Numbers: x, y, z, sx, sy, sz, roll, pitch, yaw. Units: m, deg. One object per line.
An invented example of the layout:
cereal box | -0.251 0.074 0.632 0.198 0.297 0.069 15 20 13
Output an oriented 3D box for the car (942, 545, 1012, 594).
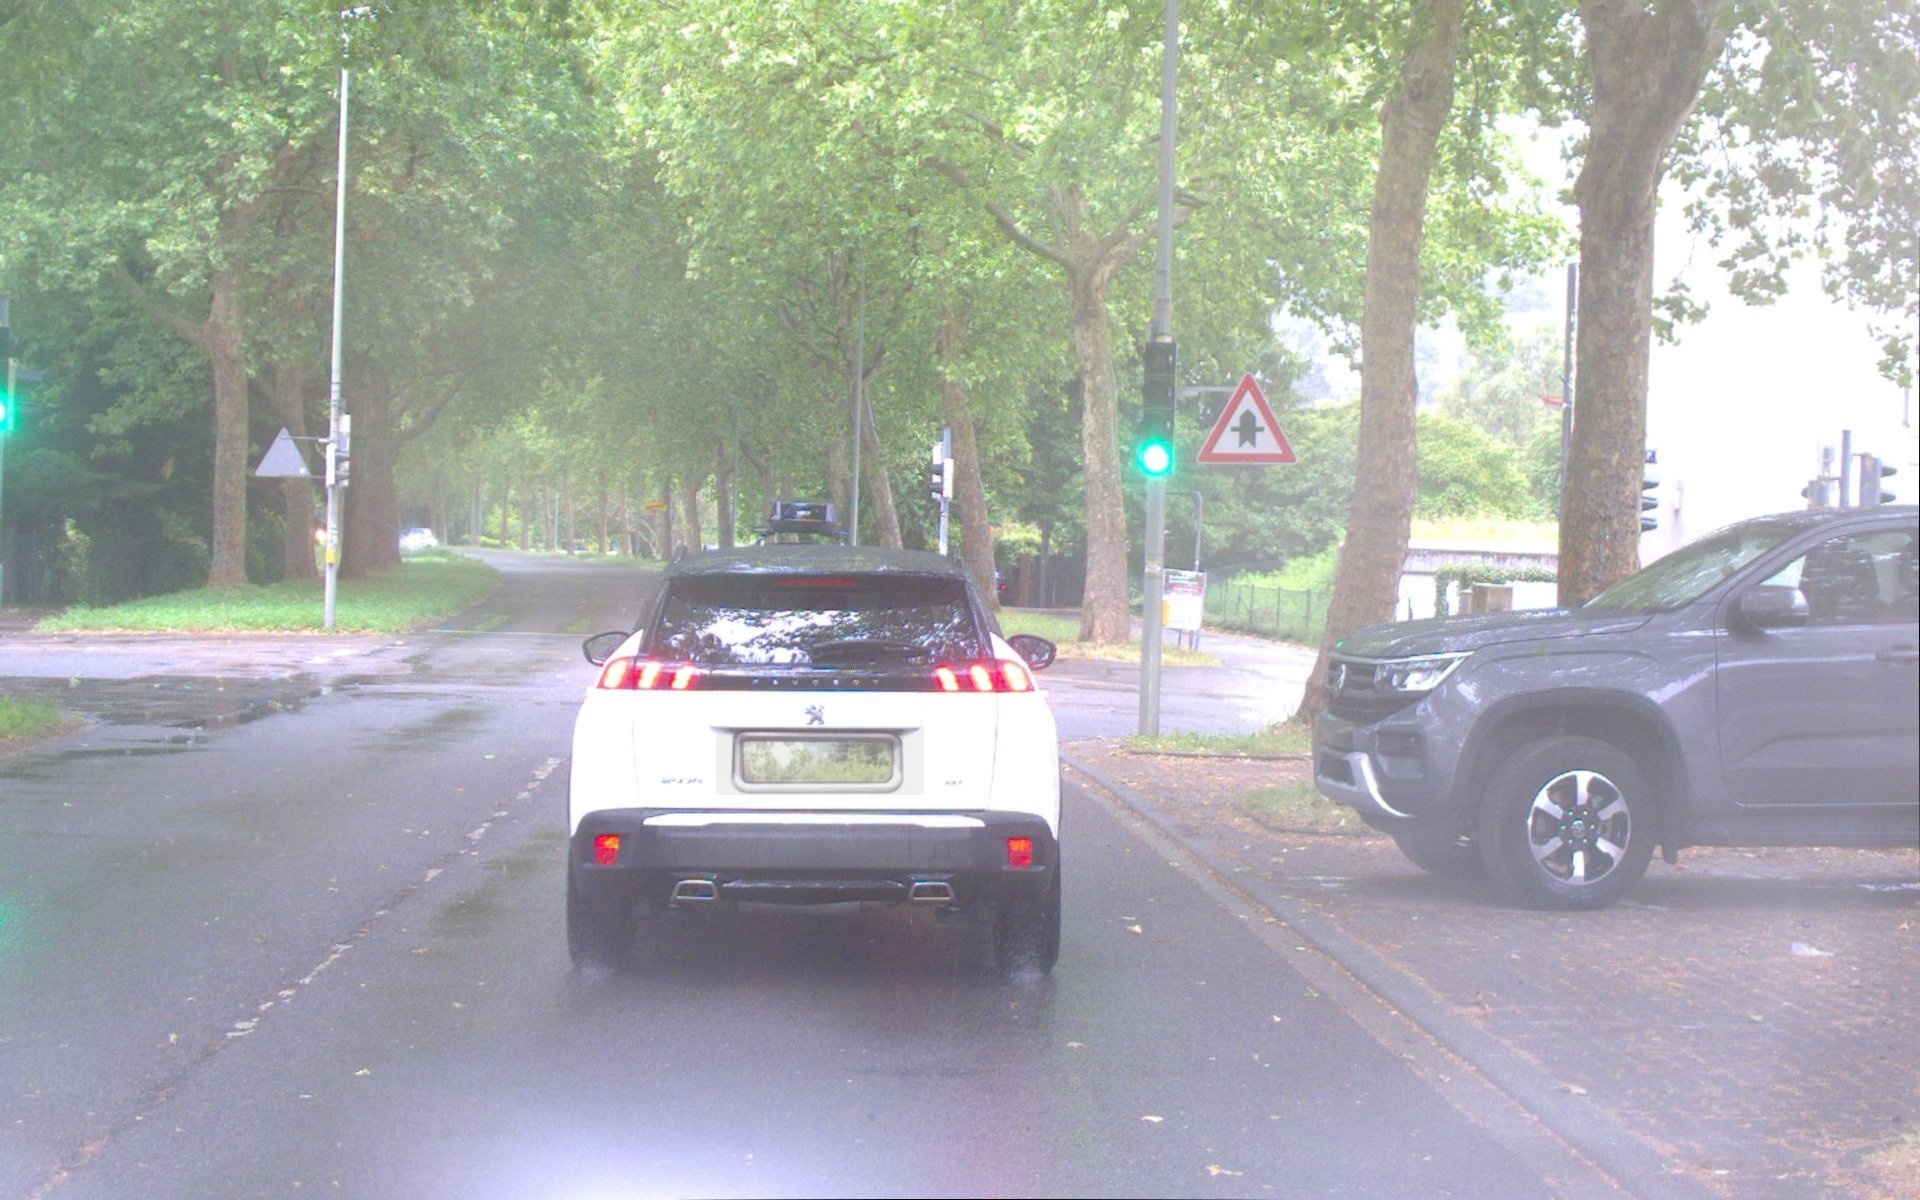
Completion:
car | 0.529 -0.996 111.707 1.905 1.504 3.932 2 1 -5

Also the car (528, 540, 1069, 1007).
car | -0.576 0.554 13.536 1.780 1.531 4.058 1 1 -1

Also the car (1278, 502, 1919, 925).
car | 4.306 0.499 15.931 5.337 1.800 1.846 1 1 -7

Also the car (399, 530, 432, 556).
car | -36.604 -3.836 231.043 1.873 1.671 3.709 2 1 -5
